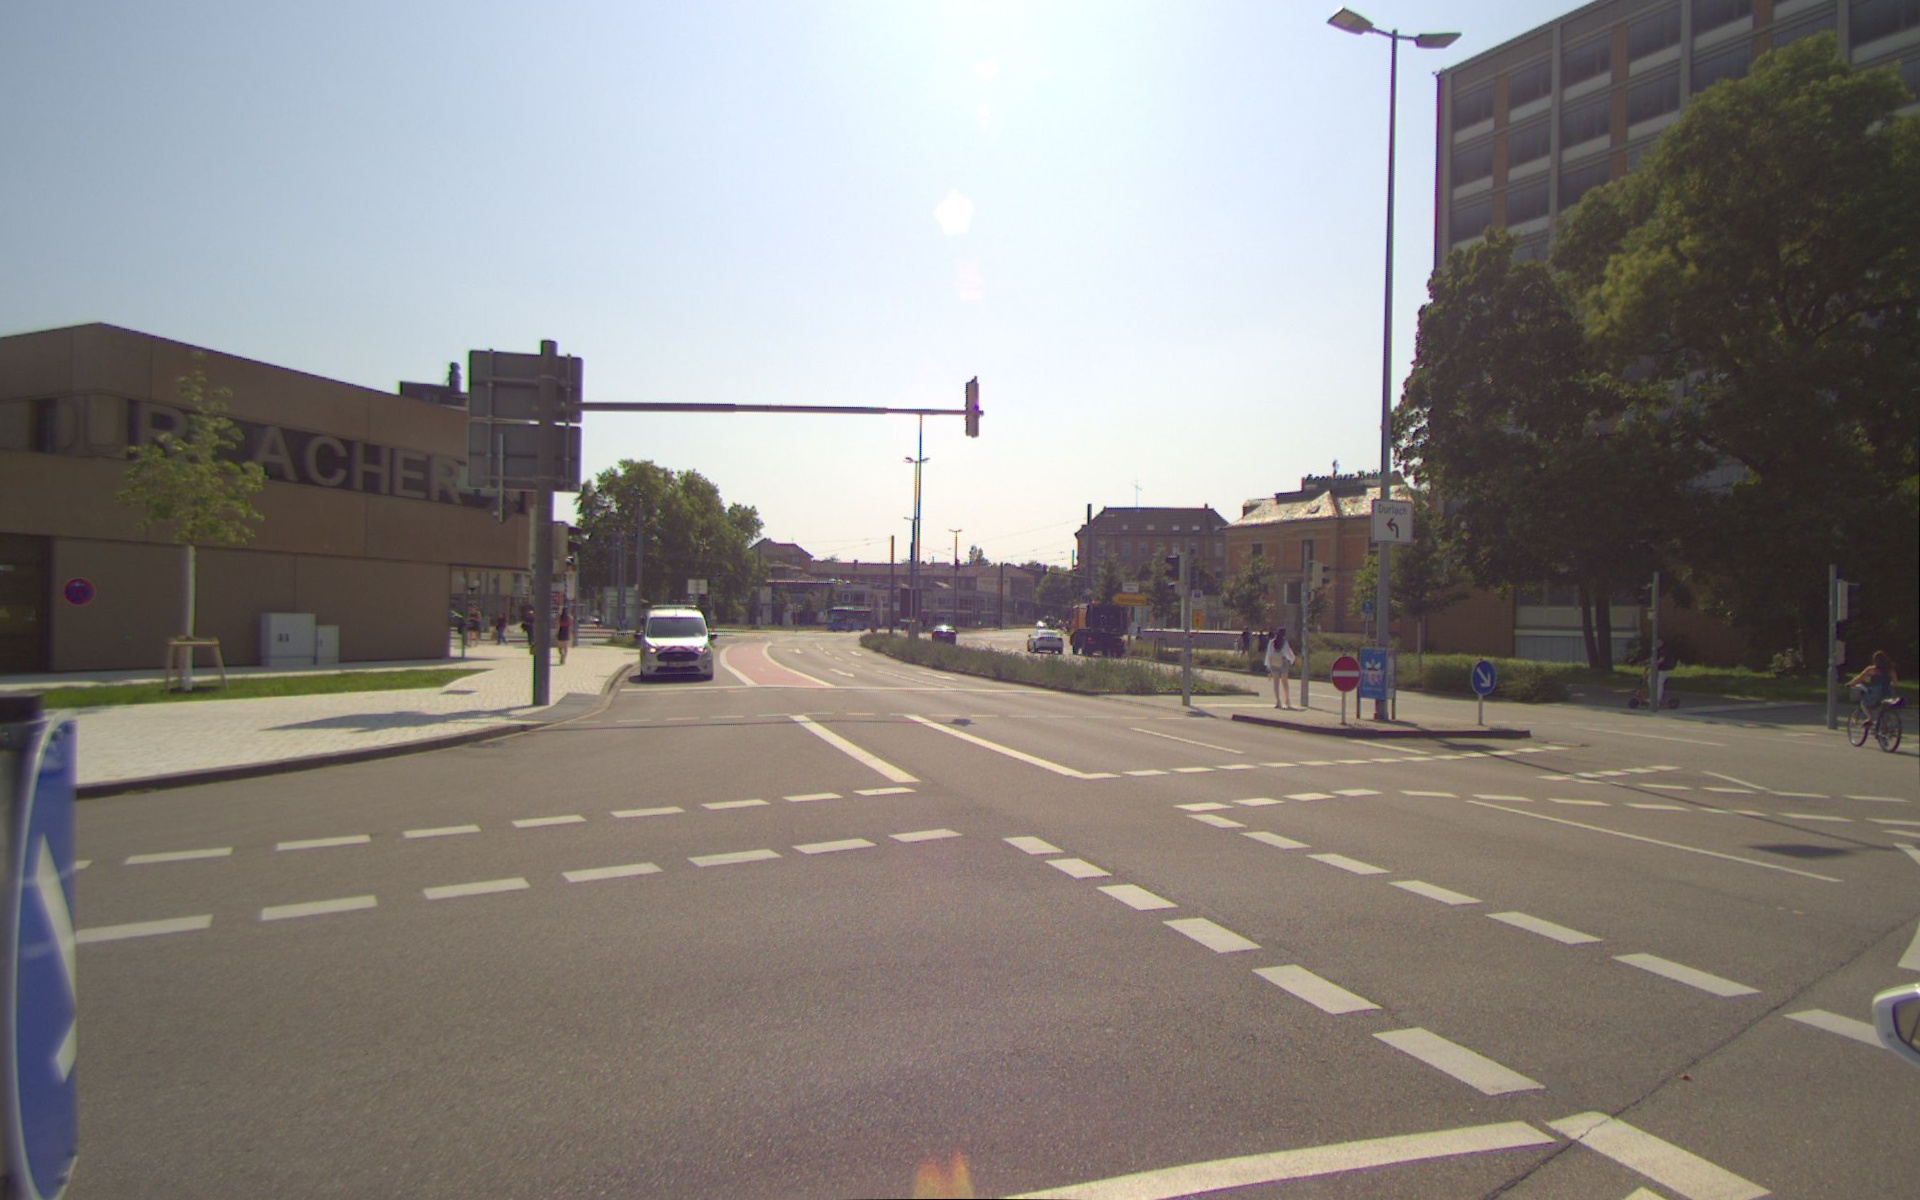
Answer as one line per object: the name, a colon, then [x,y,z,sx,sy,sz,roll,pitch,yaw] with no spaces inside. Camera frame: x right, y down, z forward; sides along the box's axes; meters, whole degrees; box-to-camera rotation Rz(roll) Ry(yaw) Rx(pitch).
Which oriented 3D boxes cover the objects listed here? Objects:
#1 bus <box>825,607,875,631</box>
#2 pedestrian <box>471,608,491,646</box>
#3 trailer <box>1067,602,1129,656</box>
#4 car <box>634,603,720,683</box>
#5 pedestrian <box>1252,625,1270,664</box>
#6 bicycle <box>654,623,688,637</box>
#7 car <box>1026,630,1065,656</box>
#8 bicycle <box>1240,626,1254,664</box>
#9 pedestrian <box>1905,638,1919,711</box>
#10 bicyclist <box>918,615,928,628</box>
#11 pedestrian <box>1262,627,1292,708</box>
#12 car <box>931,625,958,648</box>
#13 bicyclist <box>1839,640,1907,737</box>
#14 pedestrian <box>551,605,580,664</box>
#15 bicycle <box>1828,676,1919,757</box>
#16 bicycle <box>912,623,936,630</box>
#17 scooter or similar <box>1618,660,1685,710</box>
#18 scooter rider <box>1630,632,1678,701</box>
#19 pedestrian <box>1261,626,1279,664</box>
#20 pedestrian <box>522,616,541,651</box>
bus: [-14.353,2.524,132.603,3.001,2.970,11.861,1,-1,11]
pedestrian: [-20.005,1.129,41.958,0.482,1.558,0.572,1,-1,21]
trailer: [8.407,1.736,61.675,2.424,3.047,6.322,3,-1,-4]
car: [-7.383,1.050,26.275,1.967,1.884,4.320,-1,0,-16]
pedestrian: [15.598,2.303,51.989,0.764,1.999,0.754,1,-1,10]
bicycle: [-21.568,2.251,74.977,2.382,0.966,0.600,2,-1,-23]
car: [5.385,2.714,63.666,1.730,1.474,4.423,2,-1,-4]
bicycle: [14.827,2.312,51.845,0.447,1.885,1.364,1,-1,7]
pedestrian: [23.301,1.785,23.941,0.696,1.727,0.876,0,0,-16]
bicyclist: [-4.604,2.678,124.223,0.894,1.521,0.860,2,-1,-24]
pedestrian: [6.955,1.461,22.027,0.595,1.717,0.700,1,-1,18]
car: [-1.063,2.448,68.086,1.729,1.423,3.981,2,-1,-1]
bicyclist: [16.013,1.534,17.637,0.680,1.620,0.842,-1,0,29]
pedestrian: [-11.808,1.032,30.078,0.617,1.725,0.785,2,-1,-13]
bicycle: [16.027,1.994,17.647,0.683,1.170,2.367,-1,-1,29]
bicycle: [-4.465,3.296,124.292,2.903,0.737,0.860,2,-1,-24]
scooter or similar: [18.174,2.220,26.417,1.340,1.251,0.586,0,-1,7]
scooter rider: [18.200,1.724,26.368,0.789,1.762,0.689,1,-1,7]
pedestrian: [16.285,2.359,52.839,0.764,1.999,0.754,1,-1,10]
pedestrian: [-20.997,1.635,49.241,0.635,1.725,0.808,1,-1,-10]
